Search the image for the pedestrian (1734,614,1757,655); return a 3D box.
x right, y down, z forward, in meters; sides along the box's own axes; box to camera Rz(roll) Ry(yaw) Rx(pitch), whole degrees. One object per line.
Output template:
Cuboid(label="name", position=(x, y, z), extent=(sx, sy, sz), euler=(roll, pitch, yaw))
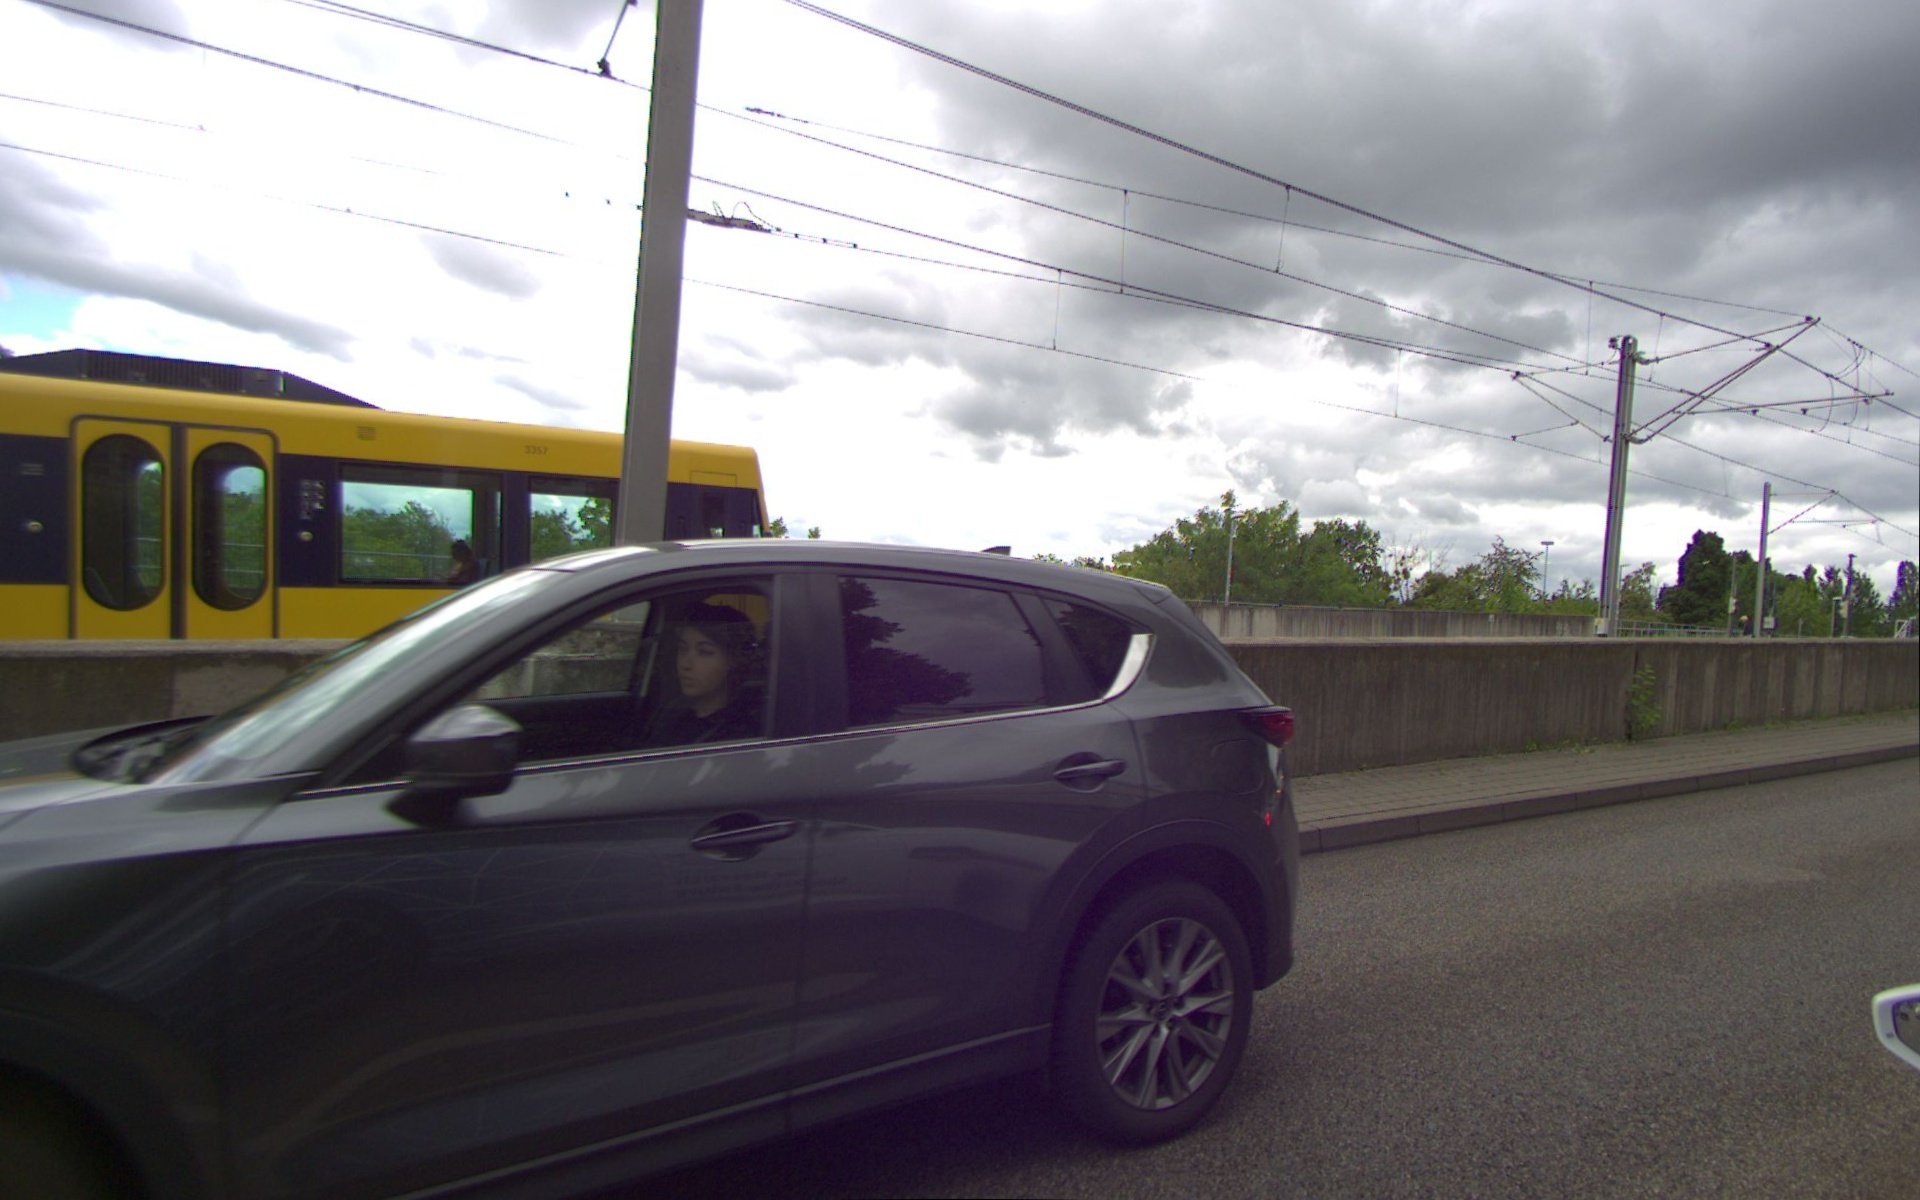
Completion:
Cuboid(label="pedestrian", position=(32.030, 1.402, 40.942), extent=(0.638, 1.646, 0.504), euler=(2, 0, -31))

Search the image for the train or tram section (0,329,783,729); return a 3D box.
Cuboid(label="train or tram section", position=(-10.502, -0.656, 7.996), extent=(18.276, 3.236, 2.765), euler=(2, 0, -33))

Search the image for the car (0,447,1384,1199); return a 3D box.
Cuboid(label="car", position=(-0.826, 0.643, 2.908), extent=(4.018, 1.709, 1.768), euler=(1, 0, -31))
